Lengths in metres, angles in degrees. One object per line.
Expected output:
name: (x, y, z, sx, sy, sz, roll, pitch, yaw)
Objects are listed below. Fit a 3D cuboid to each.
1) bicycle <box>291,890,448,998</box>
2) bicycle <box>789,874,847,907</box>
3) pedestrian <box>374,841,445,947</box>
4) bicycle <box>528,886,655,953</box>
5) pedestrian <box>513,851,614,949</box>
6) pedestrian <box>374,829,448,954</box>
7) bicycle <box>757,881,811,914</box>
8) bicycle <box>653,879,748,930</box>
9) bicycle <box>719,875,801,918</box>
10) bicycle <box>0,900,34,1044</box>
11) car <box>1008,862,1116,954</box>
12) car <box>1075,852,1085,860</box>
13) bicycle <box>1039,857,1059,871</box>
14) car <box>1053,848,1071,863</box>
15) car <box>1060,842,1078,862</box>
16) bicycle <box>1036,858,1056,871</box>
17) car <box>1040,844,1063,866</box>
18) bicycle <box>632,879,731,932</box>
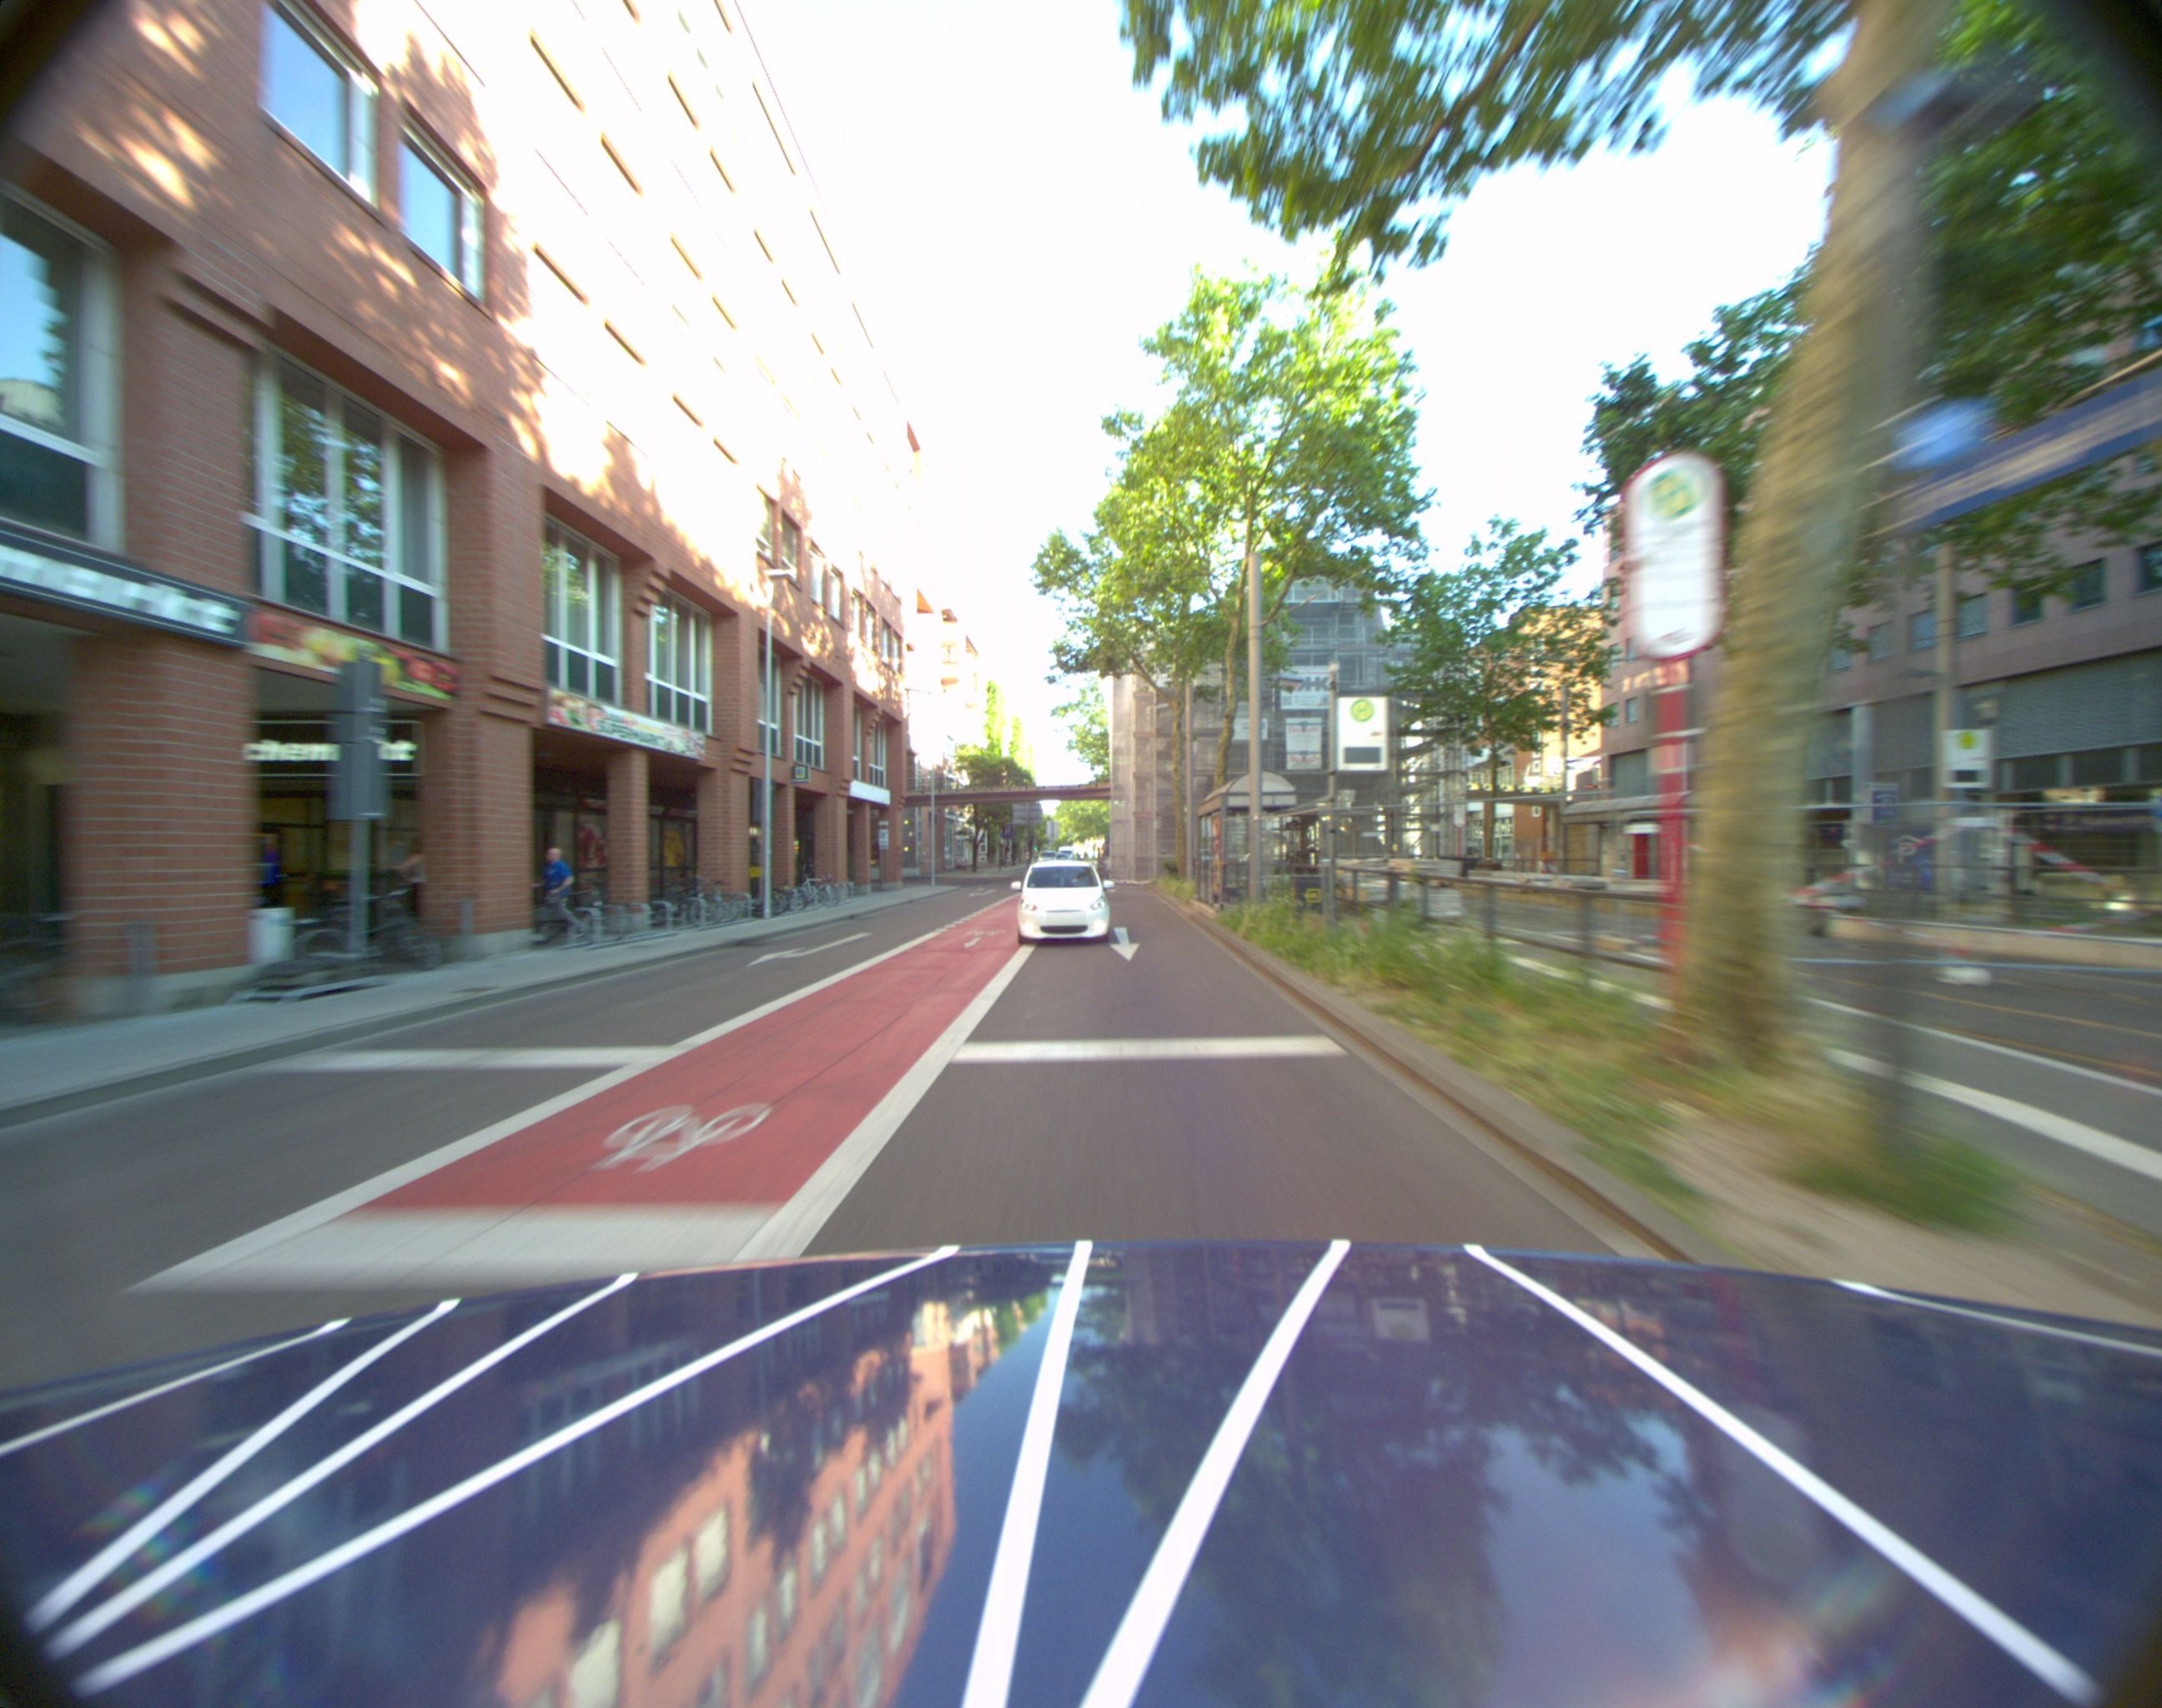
bicycle: (-8.982, 1.088, 9.687, 0.340, 1.176, 1.678, 0, 0, 3)
bicycle: (-8.312, 1.159, 24.017, 1.615, 0.949, 0.555, 2, 1, 3)
pedestrian: (-11.660, 0.680, 13.210, 0.660, 1.785, 0.609, 0, 1, -3)
bicycle: (-8.385, 1.114, 13.043, 1.896, 1.112, 0.475, 0, 1, 2)
pedestrian: (-9.374, 0.808, 13.794, 1.197, 1.686, 0.885, 2, 1, 3)
pedestrian: (-11.011, 0.604, 12.509, 0.609, 2.002, 0.660, 0, 1, -4)
bicycle: (-8.337, 1.223, 21.368, 1.337, 0.836, 0.425, 2, 1, 3)
bicycle: (-8.590, 1.136, 17.185, 1.896, 1.112, 0.550, 0, 1, 2)
bicycle: (-8.460, 1.117, 20.067, 1.937, 1.051, 0.573, 2, 1, 5)
bicycle: (-9.678, 1.042, 6.016, 0.340, 1.248, 1.710, 0, 0, 3)
car: (-0.378, 0.933, 14.942, 1.808, 1.492, 4.199, -1, 0, -2)
car: (-0.249, 0.456, 170.779, 1.998, 1.524, 4.000, -2, 1, 1)
bicycle: (-2.672, 0.830, 62.758, 1.678, 1.061, 0.502, -1, 1, 36)
car: (-2.078, 0.133, 85.075, 1.792, 1.660, 4.440, -1, 0, 1)
car: (-1.610, -0.319, 101.631, 2.120, 2.550, 5.905, 0, 0, 2)
bicycle: (-2.876, 0.831, 61.937, 1.678, 1.061, 0.502, -1, 1, 36)
car: (-2.797, 0.096, 73.453, 1.923, 2.066, 5.170, -1, 0, 1)
bicycle: (-8.638, 1.113, 16.458, 1.896, 1.112, 0.475, 0, 1, 1)
